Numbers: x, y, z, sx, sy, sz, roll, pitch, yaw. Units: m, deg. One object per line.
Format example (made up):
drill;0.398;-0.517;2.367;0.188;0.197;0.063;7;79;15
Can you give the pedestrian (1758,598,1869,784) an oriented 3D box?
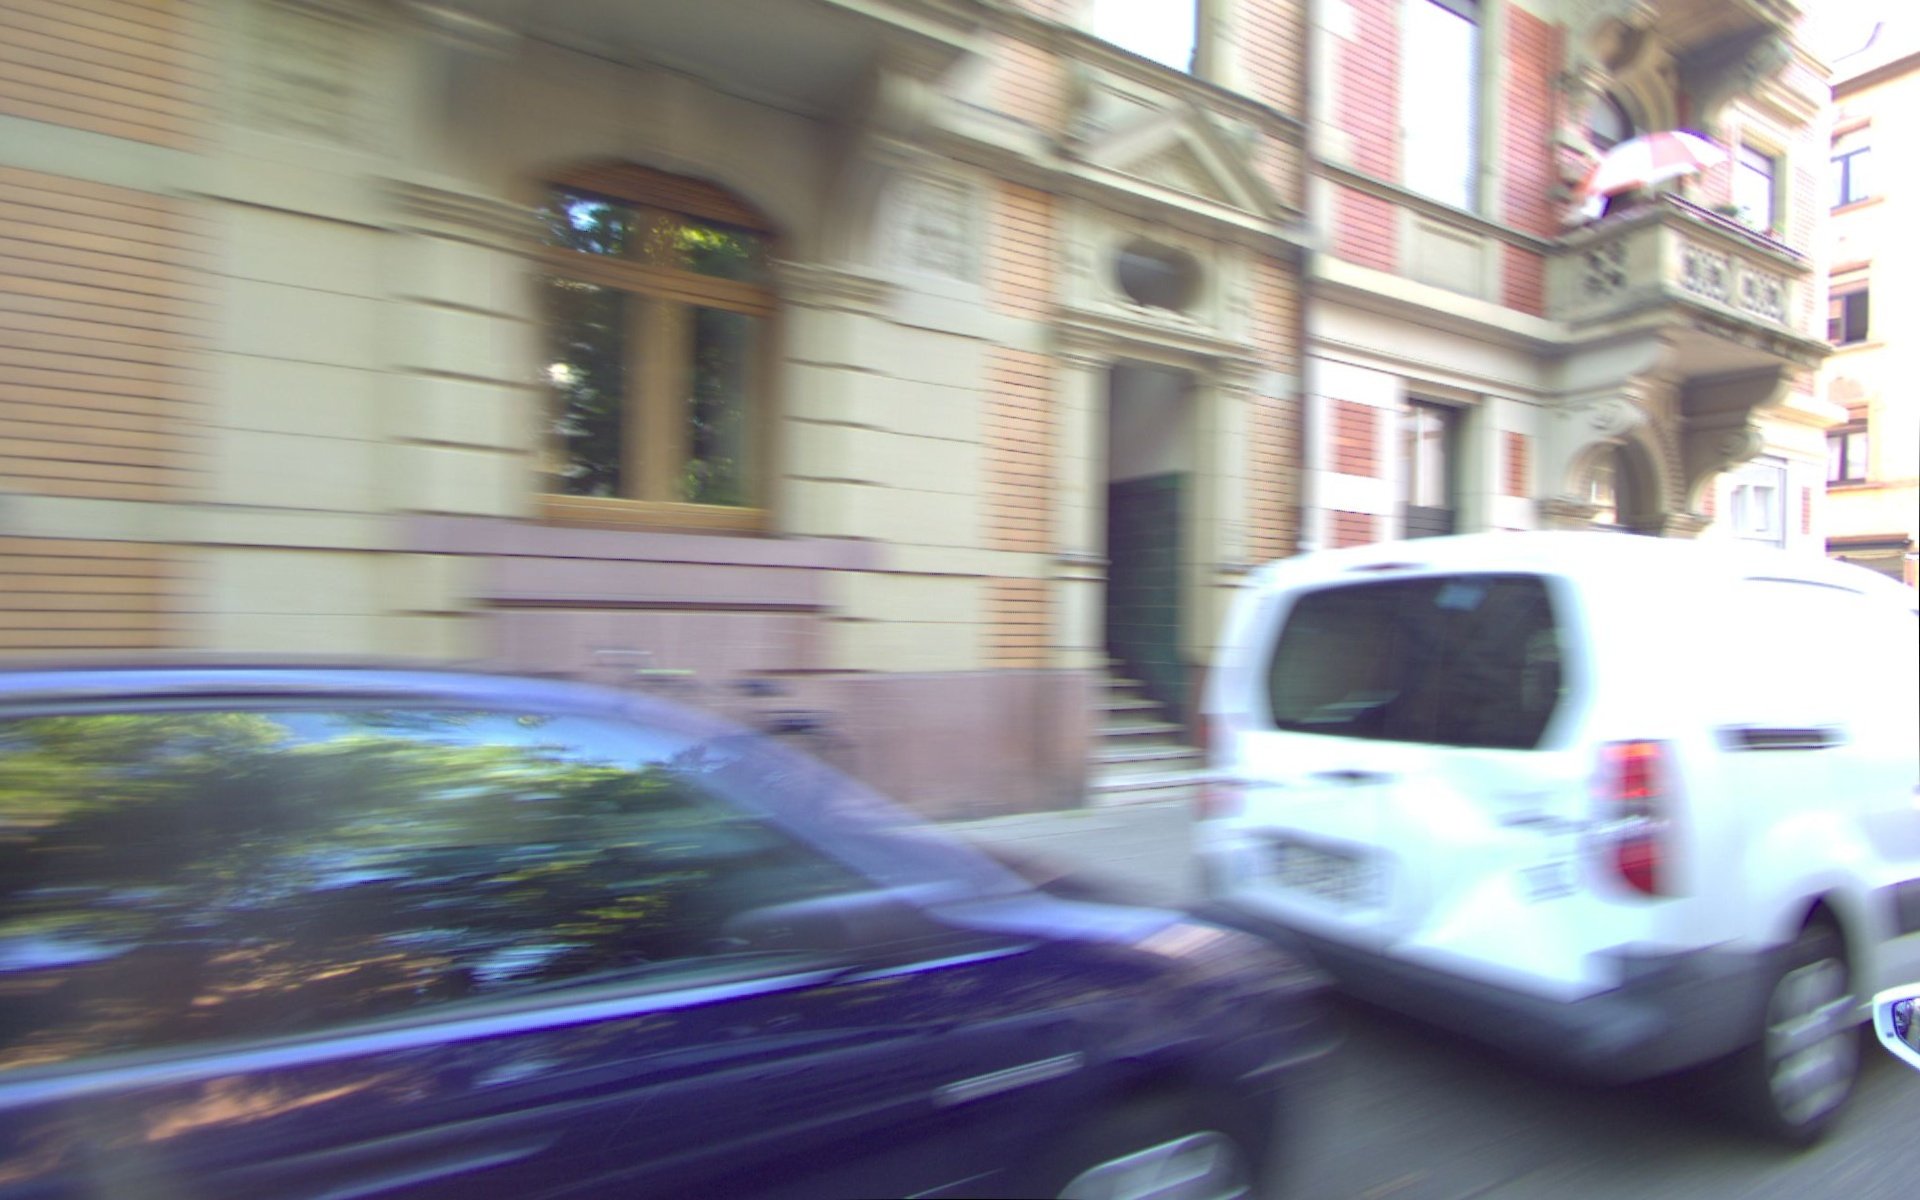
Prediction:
pedestrian;8.012;0.841;9.432;0.709;1.666;0.545;4;-1;-30

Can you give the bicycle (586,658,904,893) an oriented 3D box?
bicycle;-1.119;0.856;5.325;1.528;1.055;0.568;2;1;-31

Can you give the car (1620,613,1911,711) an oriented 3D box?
car;17.787;1.294;22.492;1.999;1.919;4.699;3;-2;-24

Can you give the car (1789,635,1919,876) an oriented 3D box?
car;7.758;1.005;7.115;3.927;1.500;1.684;2;-3;-31

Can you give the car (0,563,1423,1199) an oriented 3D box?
car;-1.004;0.773;2.004;3.931;1.534;1.683;2;-3;-33

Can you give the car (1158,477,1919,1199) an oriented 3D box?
car;3.189;0.702;4.378;4.519;1.835;1.822;1;-3;-31
